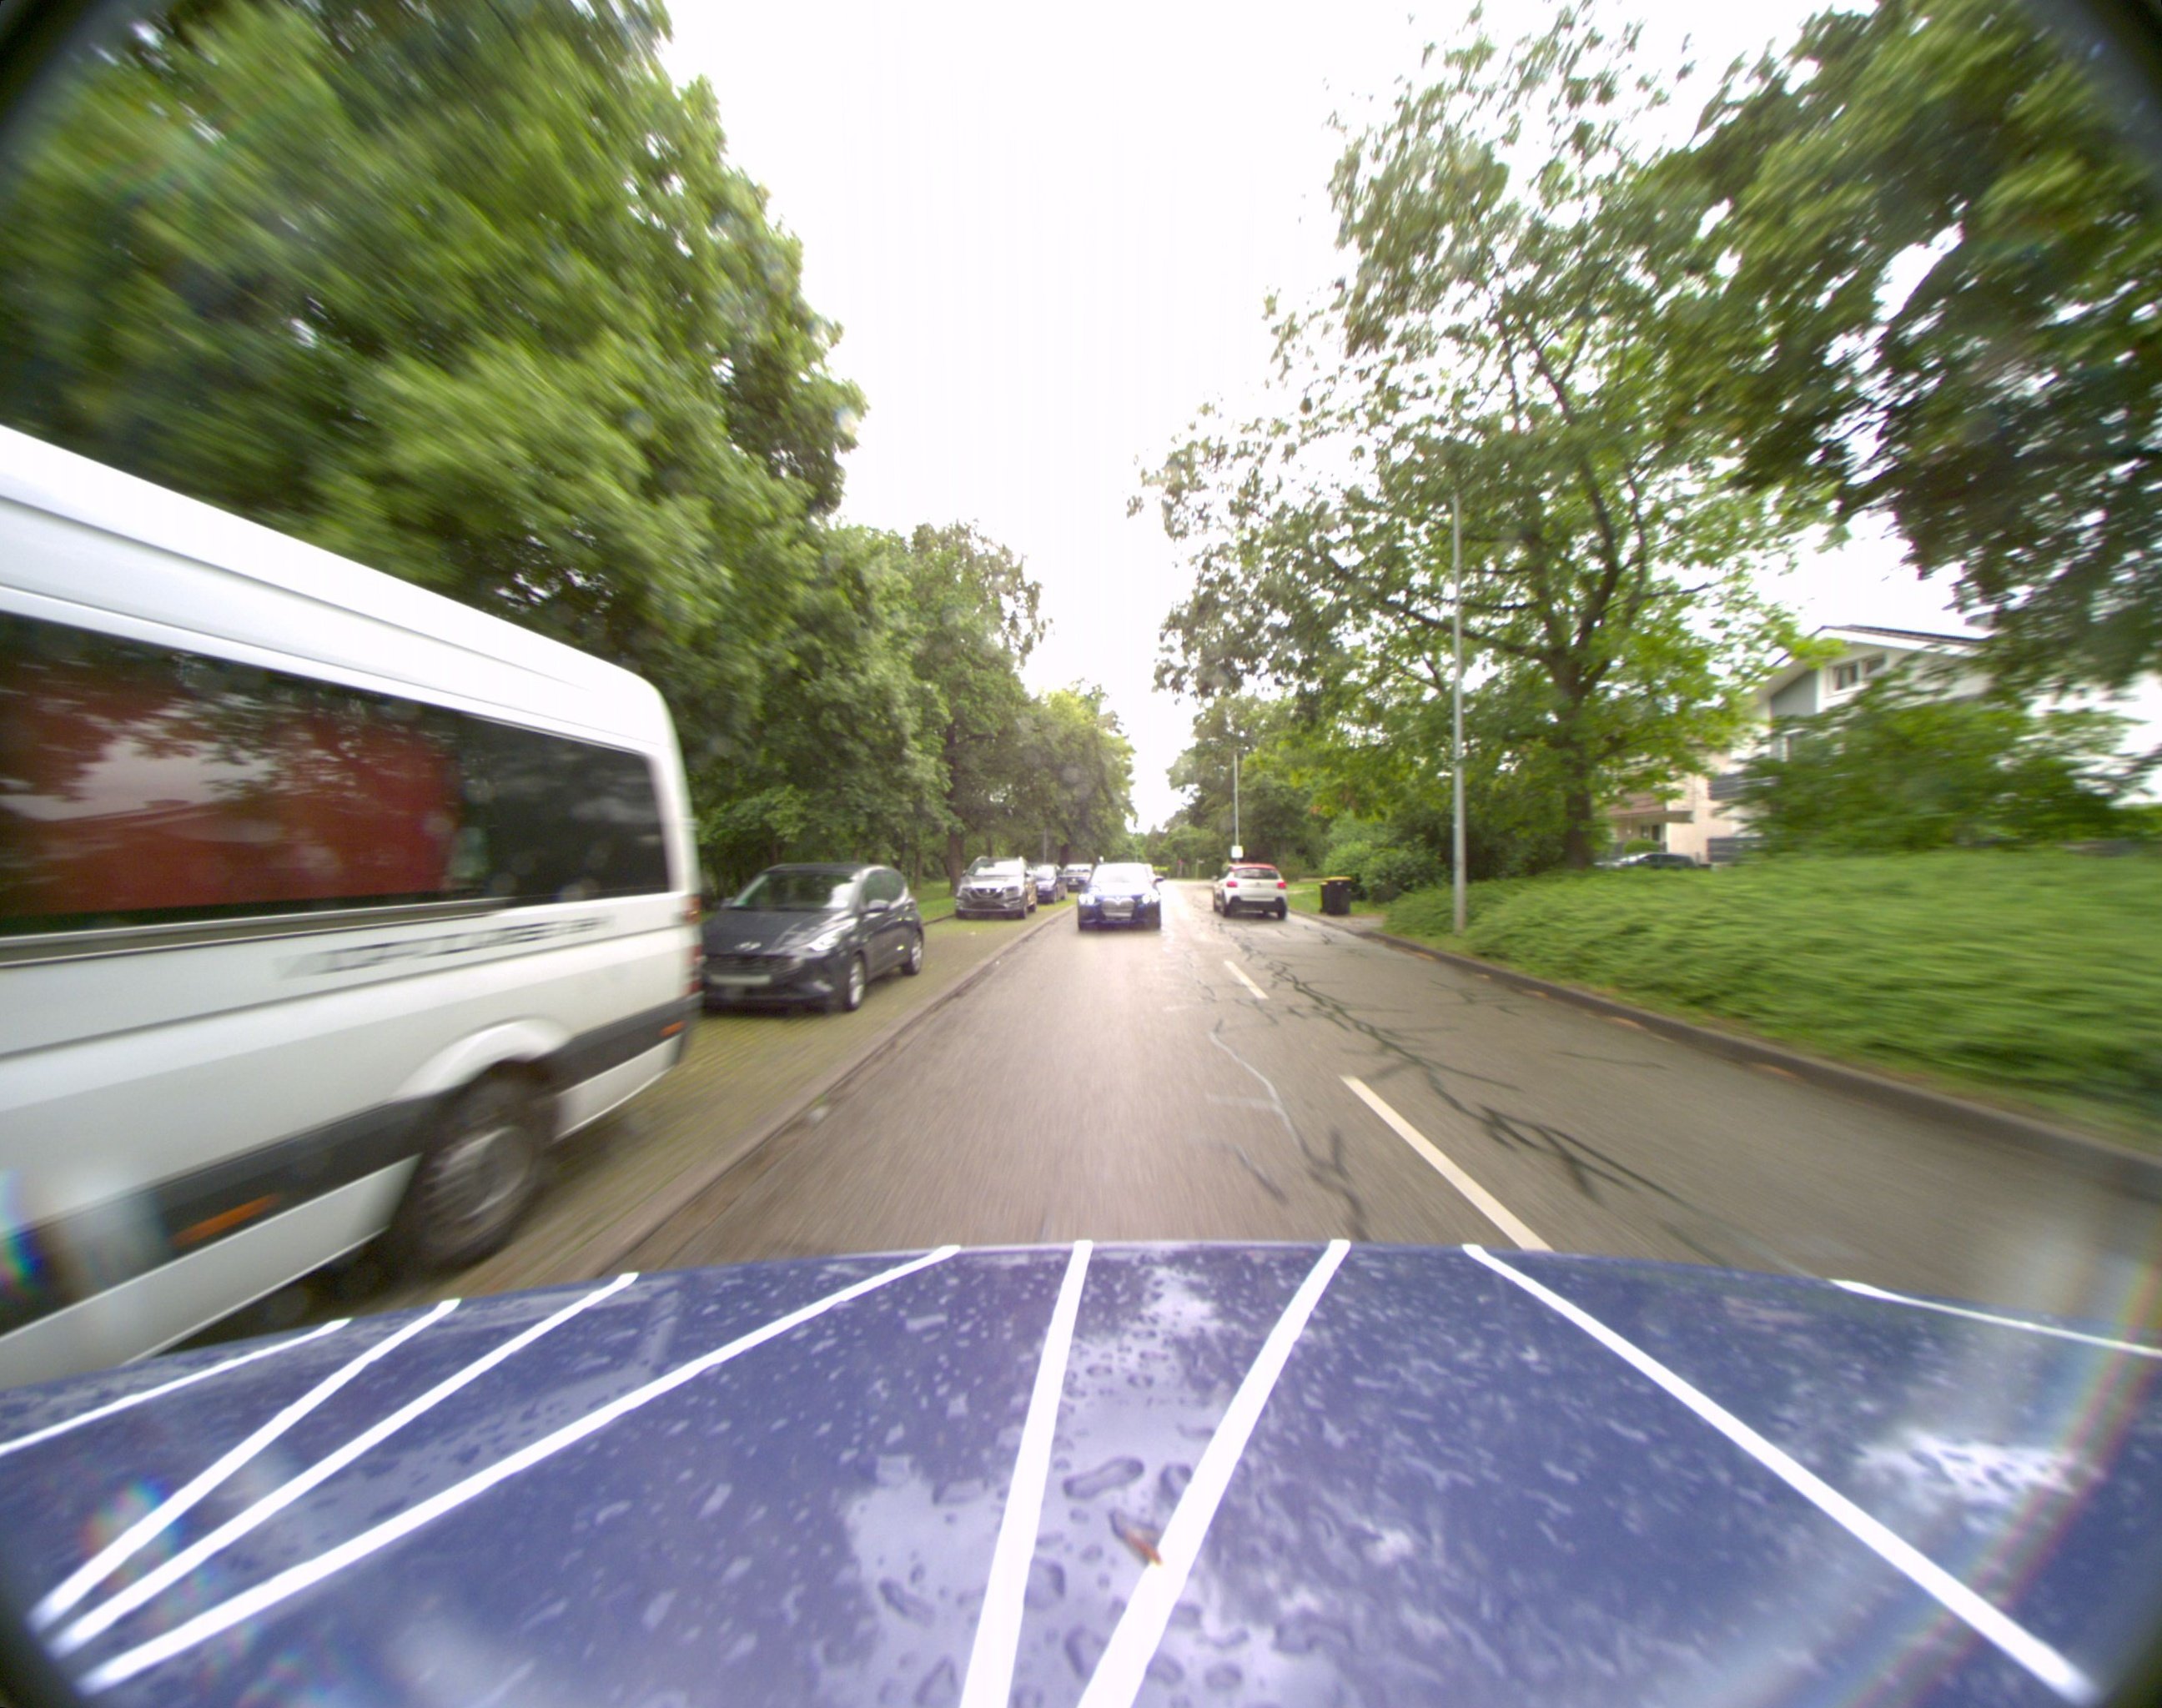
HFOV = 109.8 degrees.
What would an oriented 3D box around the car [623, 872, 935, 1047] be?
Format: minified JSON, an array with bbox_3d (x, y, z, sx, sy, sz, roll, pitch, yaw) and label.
[{"bbox_3d":[-3.084,0.984,8.684,1.869,1.502,3.726,1,-1,4],"label":"car"}]

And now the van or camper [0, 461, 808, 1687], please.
[{"bbox_3d":[-3.250,0.446,1.720,2.021,2.567,8.437,2,-1,1],"label":"van or camper"}]

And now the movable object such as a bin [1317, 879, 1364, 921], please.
[{"bbox_3d":[7.264,1.278,21.342,1.039,1.098,0.967,-2,0,7],"label":"movable object such as a bin"}]

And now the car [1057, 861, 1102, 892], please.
[{"bbox_3d":[-0.025,1.078,37.821,1.704,1.453,4.220,1,0,7],"label":"car"}]

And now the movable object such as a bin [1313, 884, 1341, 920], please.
[{"bbox_3d":[7.174,1.395,22.156,0.649,0.973,0.578,2,0,7],"label":"movable object such as a bin"}]

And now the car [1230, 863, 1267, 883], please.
[{"bbox_3d":[13.719,1.542,62.541,1.999,1.507,3.999,2,0,-2],"label":"car"}]

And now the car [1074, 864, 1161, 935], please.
[{"bbox_3d":[0.938,1.028,18.093,1.838,1.501,4.003,0,-2,5],"label":"car"}]

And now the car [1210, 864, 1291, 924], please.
[{"bbox_3d":[4.727,1.059,21.652,1.669,1.468,3.733,2,0,4],"label":"car"}]

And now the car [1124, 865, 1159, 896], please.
[{"bbox_3d":[4.078,1.750,50.918,1.997,2.001,4.004,0,-2,9],"label":"car"}]

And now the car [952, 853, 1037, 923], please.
[{"bbox_3d":[-2.228,0.998,20.711,1.786,1.708,4.265,0,-4,1],"label":"car"}]

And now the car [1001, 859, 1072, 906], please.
[{"bbox_3d":[-1.488,0.969,26.903,1.746,1.444,4.003,3,0,7],"label":"car"}]

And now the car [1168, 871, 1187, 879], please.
[{"bbox_3d":[20.240,4.494,159.554,3.862,1.577,1.818,-1,-2,-2],"label":"car"}]
